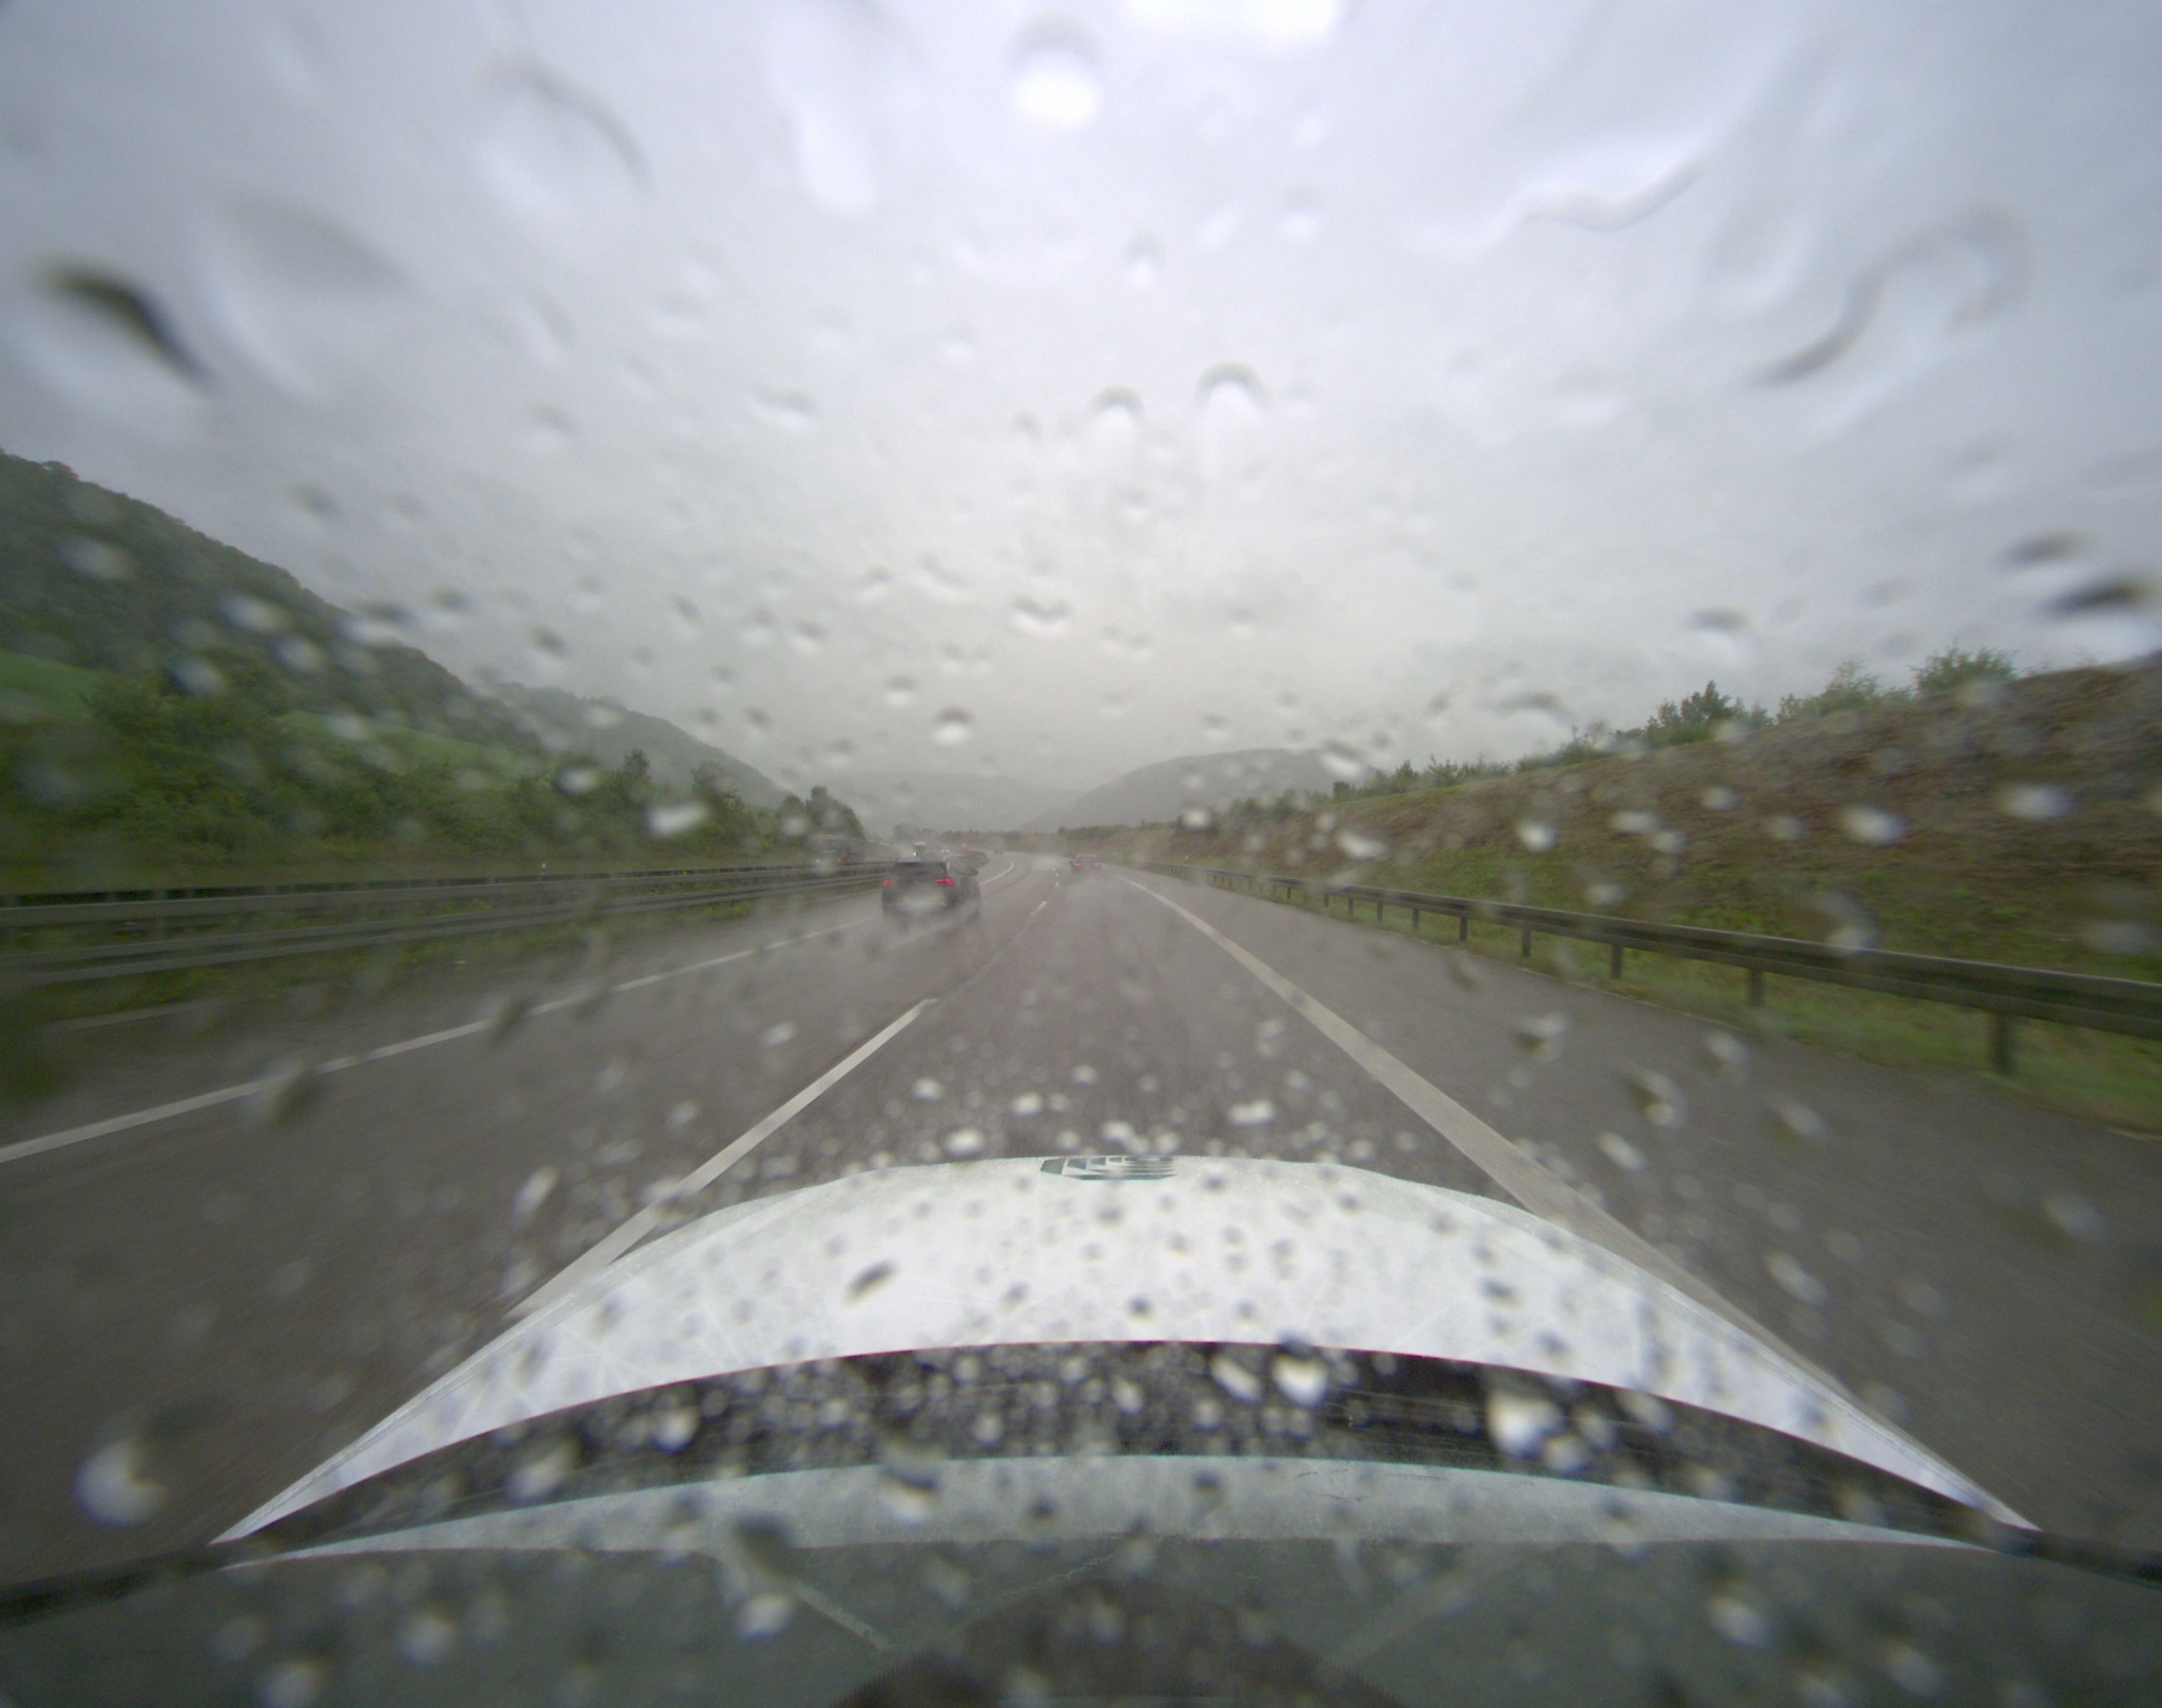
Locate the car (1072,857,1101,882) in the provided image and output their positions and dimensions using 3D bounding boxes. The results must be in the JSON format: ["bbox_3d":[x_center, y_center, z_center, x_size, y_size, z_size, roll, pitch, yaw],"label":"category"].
[{"bbox_3d":[0.369,0.945,50.455,1.673,1.472,3.815,1,0,1],"label":"car"}]

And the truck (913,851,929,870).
[{"bbox_3d":[-33.692,1.298,171.485,2.882,3.802,5.301,-1,0,-8],"label":"truck"}]

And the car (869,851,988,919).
[{"bbox_3d":[-3.715,0.730,20.803,2.401,1.515,4.777,1,0,-4],"label":"car"}]

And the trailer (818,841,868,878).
[{"bbox_3d":[-23.861,0.552,82.027,2.714,3.491,9.385,0,0,-3],"label":"trailer"}]

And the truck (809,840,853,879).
[{"bbox_3d":[-23.650,0.509,77.280,2.709,3.542,5.305,0,0,-3],"label":"truck"}]
